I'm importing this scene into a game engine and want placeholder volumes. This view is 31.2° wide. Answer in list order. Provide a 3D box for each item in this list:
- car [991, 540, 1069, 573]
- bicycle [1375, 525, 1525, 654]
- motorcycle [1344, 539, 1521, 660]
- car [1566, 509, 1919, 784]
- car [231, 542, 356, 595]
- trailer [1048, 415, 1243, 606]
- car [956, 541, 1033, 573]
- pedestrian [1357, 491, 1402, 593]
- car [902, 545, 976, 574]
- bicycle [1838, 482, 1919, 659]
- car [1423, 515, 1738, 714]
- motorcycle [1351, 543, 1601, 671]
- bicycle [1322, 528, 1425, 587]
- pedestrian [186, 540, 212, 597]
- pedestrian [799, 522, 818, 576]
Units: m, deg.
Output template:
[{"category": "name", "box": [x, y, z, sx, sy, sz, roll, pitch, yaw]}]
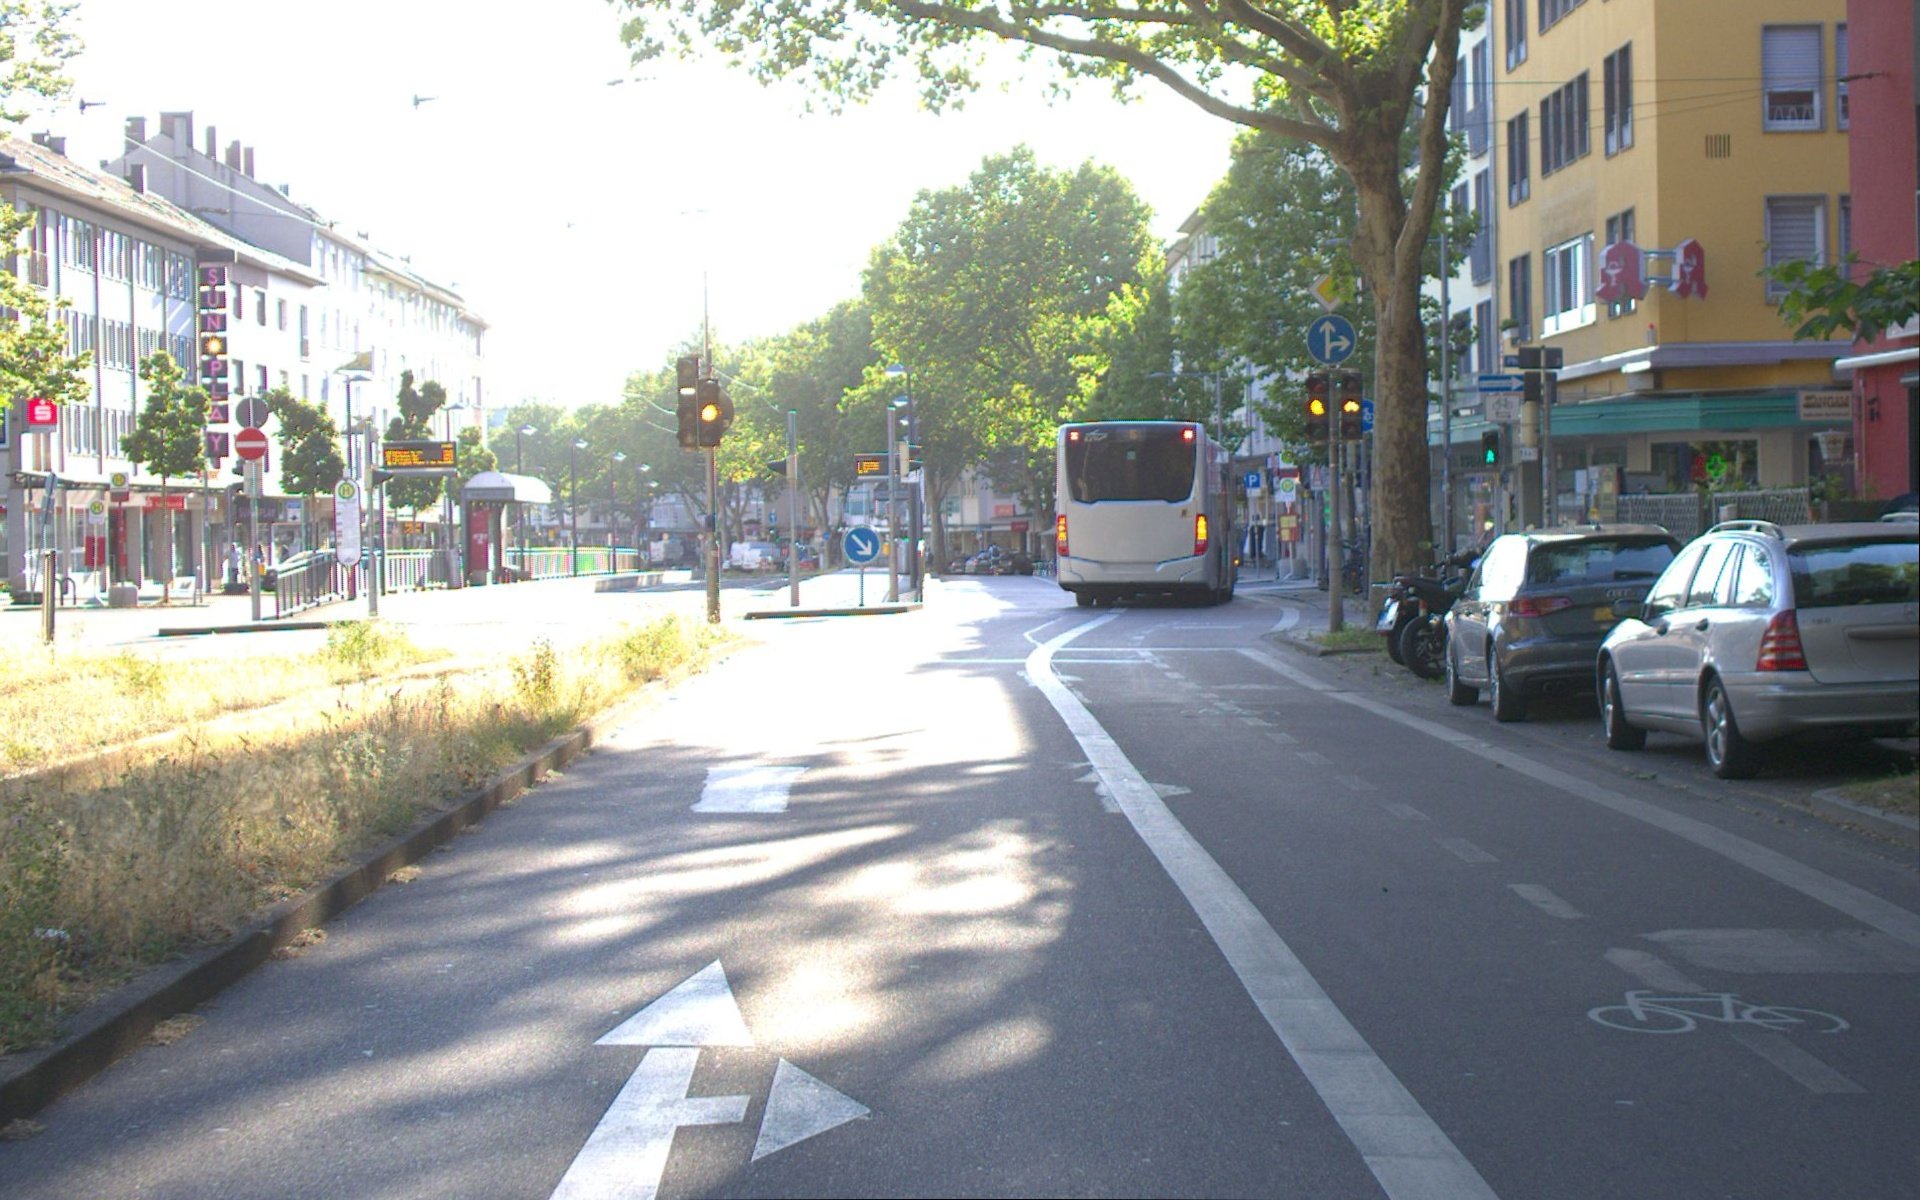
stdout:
[{"category": "car", "box": [3.903, -2.431, 191.529, 3.889, 1.693, 1.833, -2, 2, -28]}, {"category": "bicycle", "box": [5.131, -0.125, 35.918, 0.695, 1.199, 1.843, 2, 5, 39]}, {"category": "motorcycle", "box": [4.762, -0.018, 34.544, 1.993, 1.148, 0.601, -3, 2, -42]}, {"category": "car", "box": [4.990, 0.188, 20.754, 1.674, 1.446, 4.571, -1, 1, -2]}, {"category": "car", "box": [-23.815, -1.142, 122.861, 3.986, 1.809, 2.000, -2, 2, -26]}, {"category": "trailer", "box": [3.408, -1.554, 60.977, 2.813, 3.099, 8.792, 1, 1, 7]}, {"category": "car", "box": [1.951, -2.437, 194.603, 3.889, 1.693, 1.833, -2, 2, -28]}, {"category": "pedestrian", "box": [7.339, -1.013, 60.134, 0.680, 1.764, 0.687, -1, 1, 1]}, {"category": "car", "box": [-1.200, -2.363, 199.090, 3.889, 1.591, 1.691, -2, 2, -28]}, {"category": "bicycle", "box": [7.986, -0.254, 28.848, 0.607, 1.422, 2.396, 1, 1, 0]}, {"category": "car", "box": [4.779, 0.051, 27.021, 1.710, 1.392, 4.322, -1, 2, 1]}, {"category": "motorcycle", "box": [4.860, 0.052, 32.368, 2.205, 1.059, 0.767, -4, 2, -22]}, {"category": "bicycle", "box": [7.670, -0.791, 63.800, 1.772, 1.018, 0.694, -2, 1, 0]}, {"category": "pedestrian", "box": [-26.795, -1.101, 121.043, 0.708, 2.007, 0.949, 0, 1, -1]}, {"category": "pedestrian", "box": [-2.475, -0.834, 56.126, 0.291, 0.872, 0.344, 1, 1, -3]}]
